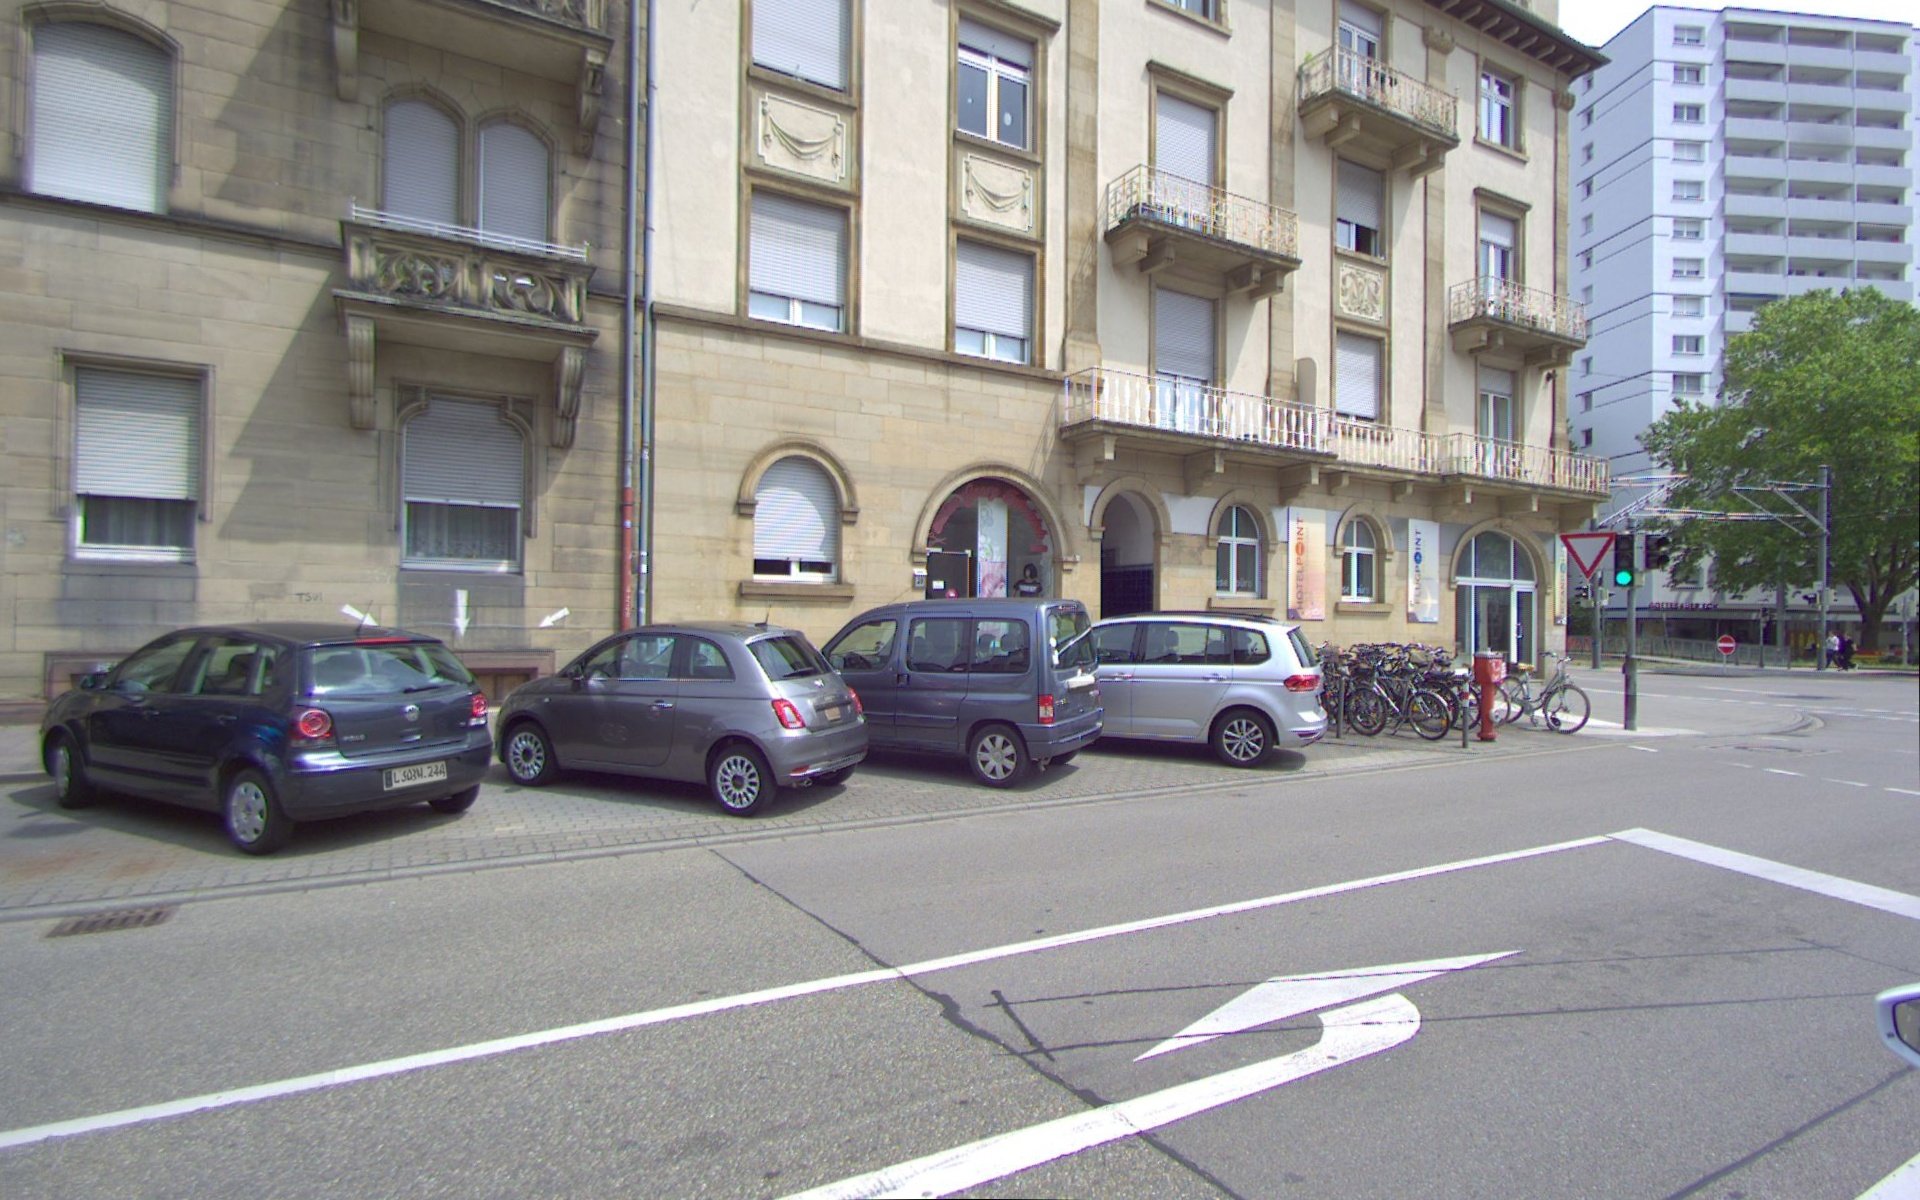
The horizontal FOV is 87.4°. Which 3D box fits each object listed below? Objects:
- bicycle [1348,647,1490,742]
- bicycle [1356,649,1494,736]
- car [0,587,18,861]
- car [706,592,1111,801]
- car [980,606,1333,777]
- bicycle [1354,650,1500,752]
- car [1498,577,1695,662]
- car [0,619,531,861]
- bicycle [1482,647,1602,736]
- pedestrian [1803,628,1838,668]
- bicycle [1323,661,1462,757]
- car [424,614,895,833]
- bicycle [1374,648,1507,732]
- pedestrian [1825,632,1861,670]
[{"bbox_3d":[6.629,1.334,14.593,0.588,1.182,1.796,2,0,-37],"label":"bicycle"},{"bbox_3d":[6.992,1.359,15.187,0.588,1.135,1.796,2,0,-37],"label":"bicycle"},{"bbox_3d":[-7.877,0.741,6.190,3.706,1.673,1.723,0,-1,24],"label":"car"},{"bbox_3d":[-0.531,0.904,10.755,3.934,1.903,1.796,0,-1,22],"label":"car"},{"bbox_3d":[2.400,0.995,12.180,3.934,1.797,1.796,0,-1,22],"label":"car"},{"bbox_3d":[6.303,1.325,13.673,0.586,1.135,1.803,1,2,-25],"label":"bicycle"},{"bbox_3d":[32.546,1.057,52.118,3.389,3.967,9.912,1,-1,-5],"label":"car"},{"bbox_3d":[-5.475,0.901,7.823,3.830,1.462,1.836,0,-1,25],"label":"car"},{"bbox_3d":[8.890,1.364,15.433,0.489,1.182,1.878,2,0,-9],"label":"bicycle"},{"bbox_3d":[34.863,1.927,40.691,0.709,1.593,0.810,0,-1,0],"label":"pedestrian"},{"bbox_3d":[5.707,1.402,13.378,0.586,1.135,1.805,1,-2,-23],"label":"bicycle"},{"bbox_3d":[-2.773,0.990,9.362,3.934,1.673,1.796,0,-1,22],"label":"car"},{"bbox_3d":[7.485,1.372,15.718,0.588,1.135,1.796,2,0,-37],"label":"bicycle"},{"bbox_3d":[36.198,2.071,41.167,0.709,1.534,0.933,0,-1,9],"label":"pedestrian"}]
